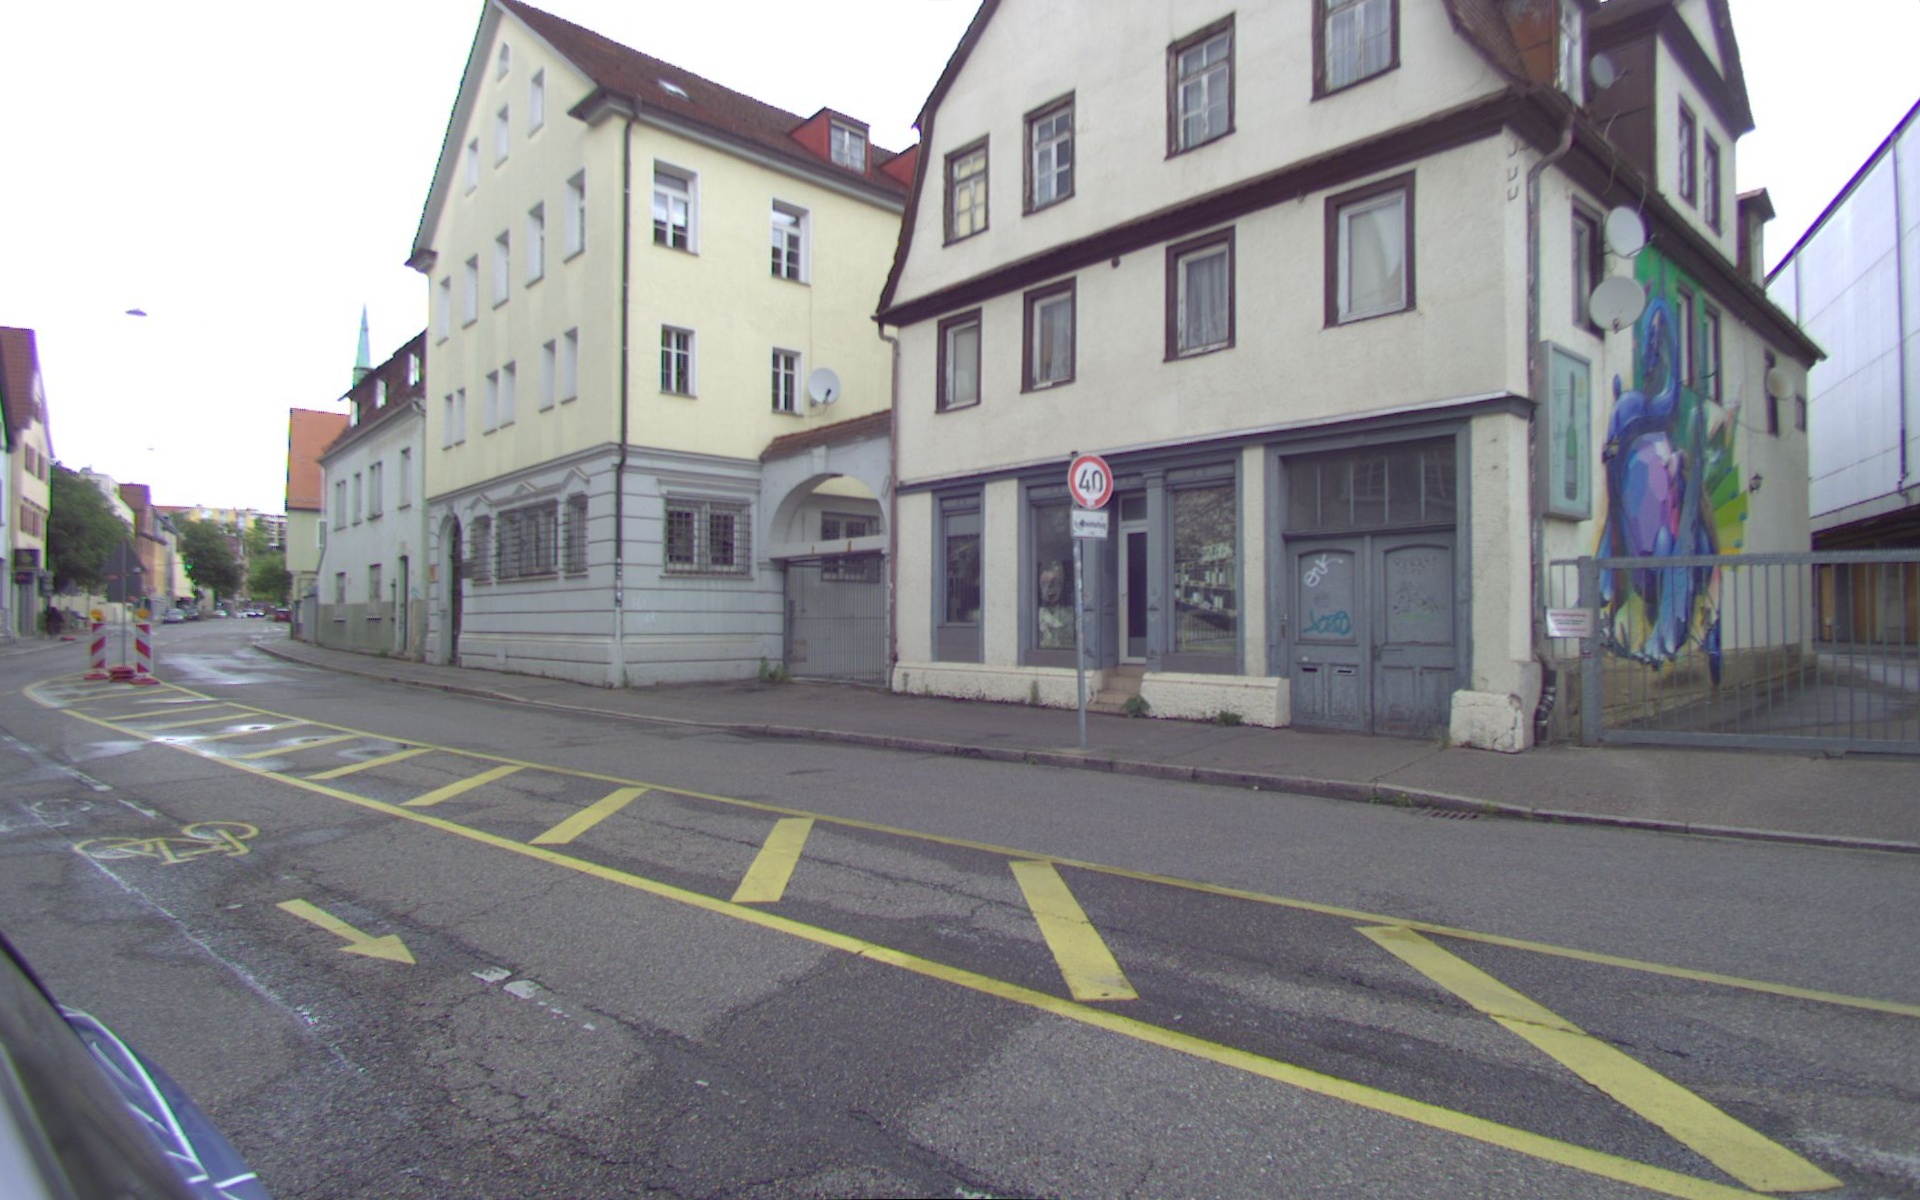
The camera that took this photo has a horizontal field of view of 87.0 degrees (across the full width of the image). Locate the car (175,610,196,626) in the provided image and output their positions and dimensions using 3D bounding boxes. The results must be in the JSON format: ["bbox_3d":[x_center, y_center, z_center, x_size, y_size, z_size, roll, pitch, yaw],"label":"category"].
[{"bbox_3d":[-97.005,2.260,126.786,1.967,2.029,4.009,1,-2,-37],"label":"car"}]

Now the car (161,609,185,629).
[{"bbox_3d":[-84.783,2.070,109.052,1.967,2.029,4.009,1,-2,-37],"label":"car"}]

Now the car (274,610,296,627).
[{"bbox_3d":[-85.653,2.341,128.368,2.027,2.029,4.009,1,-2,-37],"label":"car"}]

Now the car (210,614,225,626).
[{"bbox_3d":[-123.501,3.338,168.306,1.967,2.029,4.009,1,-2,-37],"label":"car"}]

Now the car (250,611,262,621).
[{"bbox_3d":[-146.115,3.347,210.055,1.967,2.029,4.009,1,-2,-37],"label":"car"}]

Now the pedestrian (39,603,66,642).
[{"bbox_3d":[-45.337,1.134,50.564,0.864,1.914,0.899,1,-2,-36],"label":"pedestrian"}]

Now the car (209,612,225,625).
[{"bbox_3d":[-114.756,2.875,156.234,1.967,2.029,4.009,1,-2,-37],"label":"car"}]
